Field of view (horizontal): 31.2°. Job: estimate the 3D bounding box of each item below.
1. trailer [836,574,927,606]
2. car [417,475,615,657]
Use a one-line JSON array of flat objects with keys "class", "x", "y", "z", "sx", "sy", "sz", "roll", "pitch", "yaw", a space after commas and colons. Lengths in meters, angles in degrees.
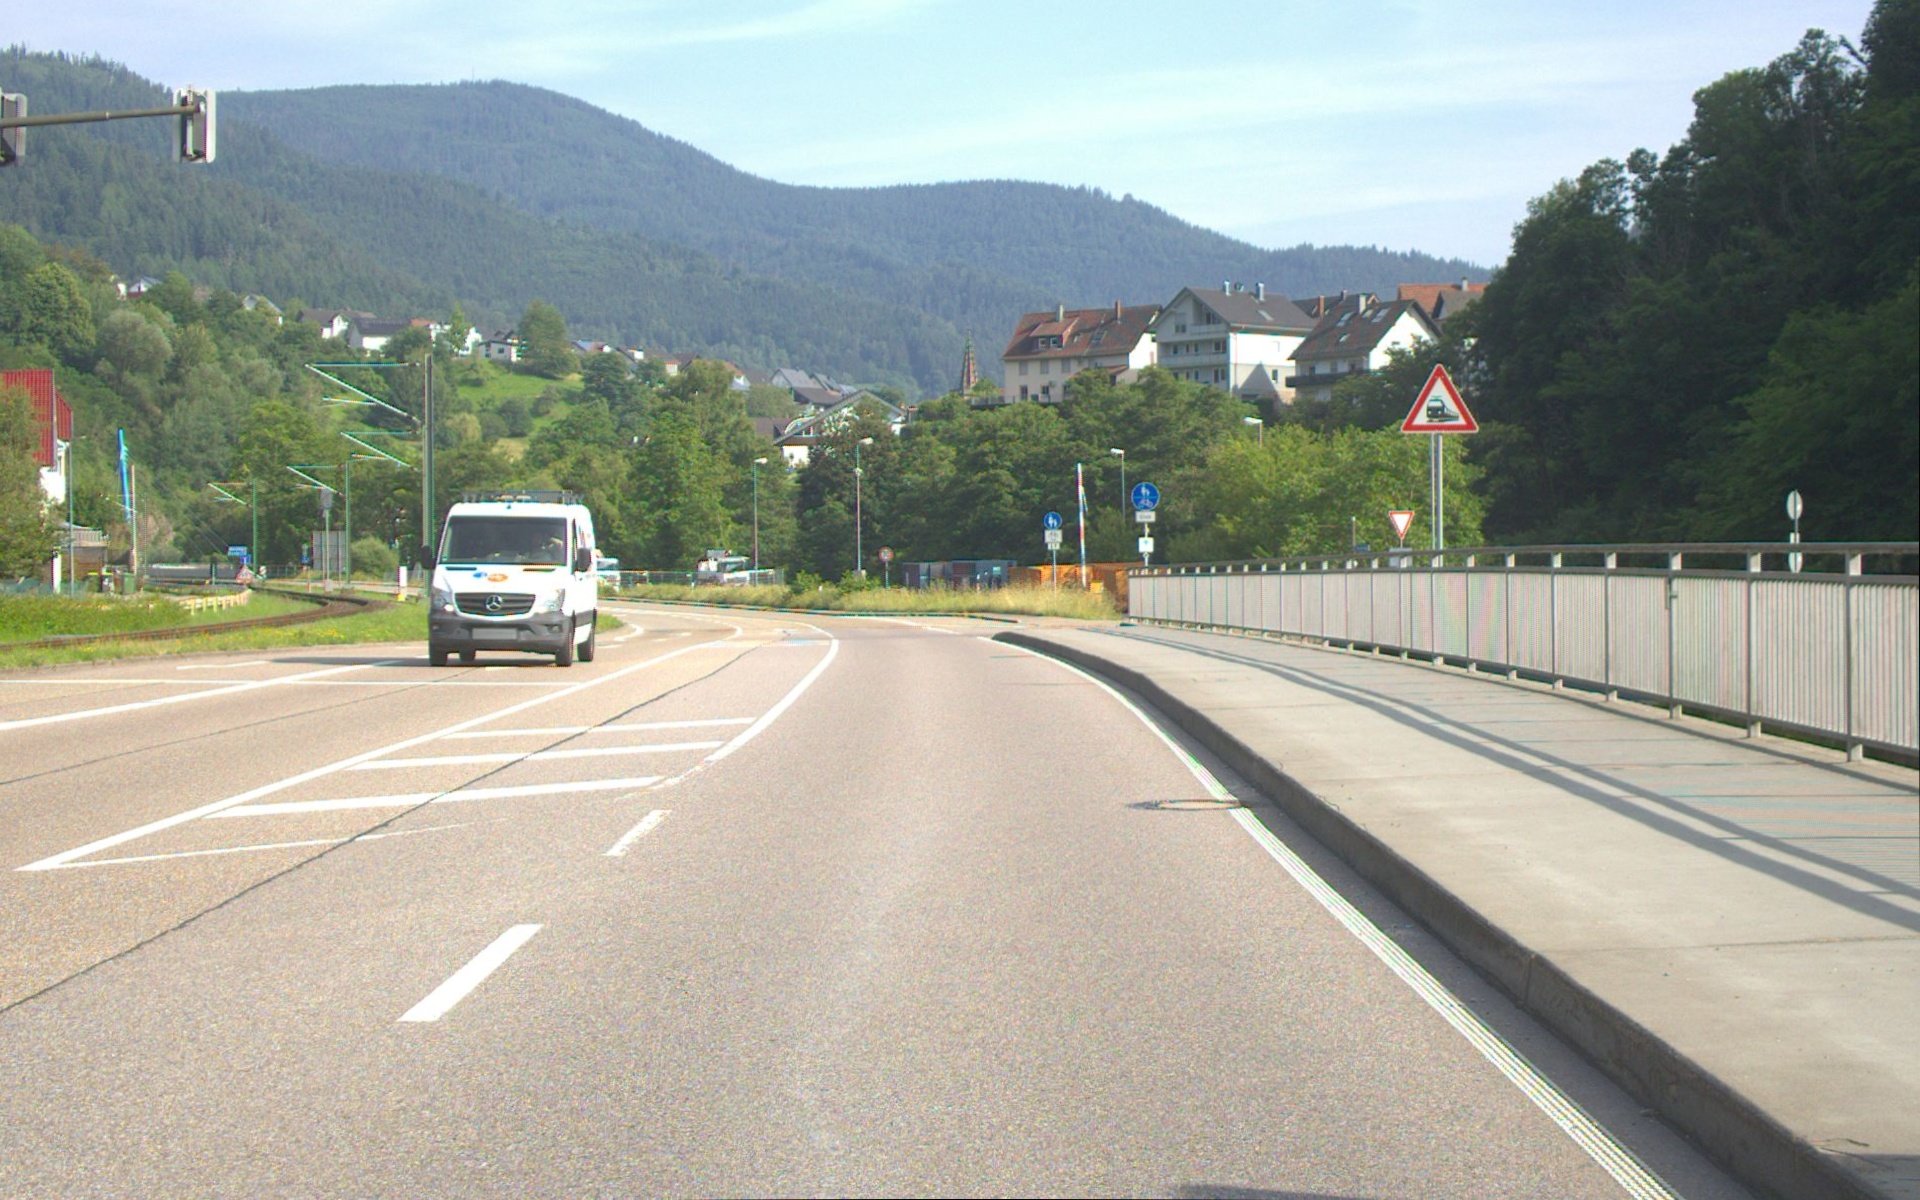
[{"class": "trailer", "x": -4.120, "y": -0.528, "z": 177.548, "sx": 2.791, "sy": 1.469, "sz": 9.890, "roll": 1, "pitch": 0, "yaw": -13}, {"class": "car", "x": -6.240, "y": -0.510, "z": 48.923, "sx": 2.119, "sy": 2.428, "sz": 5.228, "roll": 1, "pitch": 1, "yaw": 0}]
